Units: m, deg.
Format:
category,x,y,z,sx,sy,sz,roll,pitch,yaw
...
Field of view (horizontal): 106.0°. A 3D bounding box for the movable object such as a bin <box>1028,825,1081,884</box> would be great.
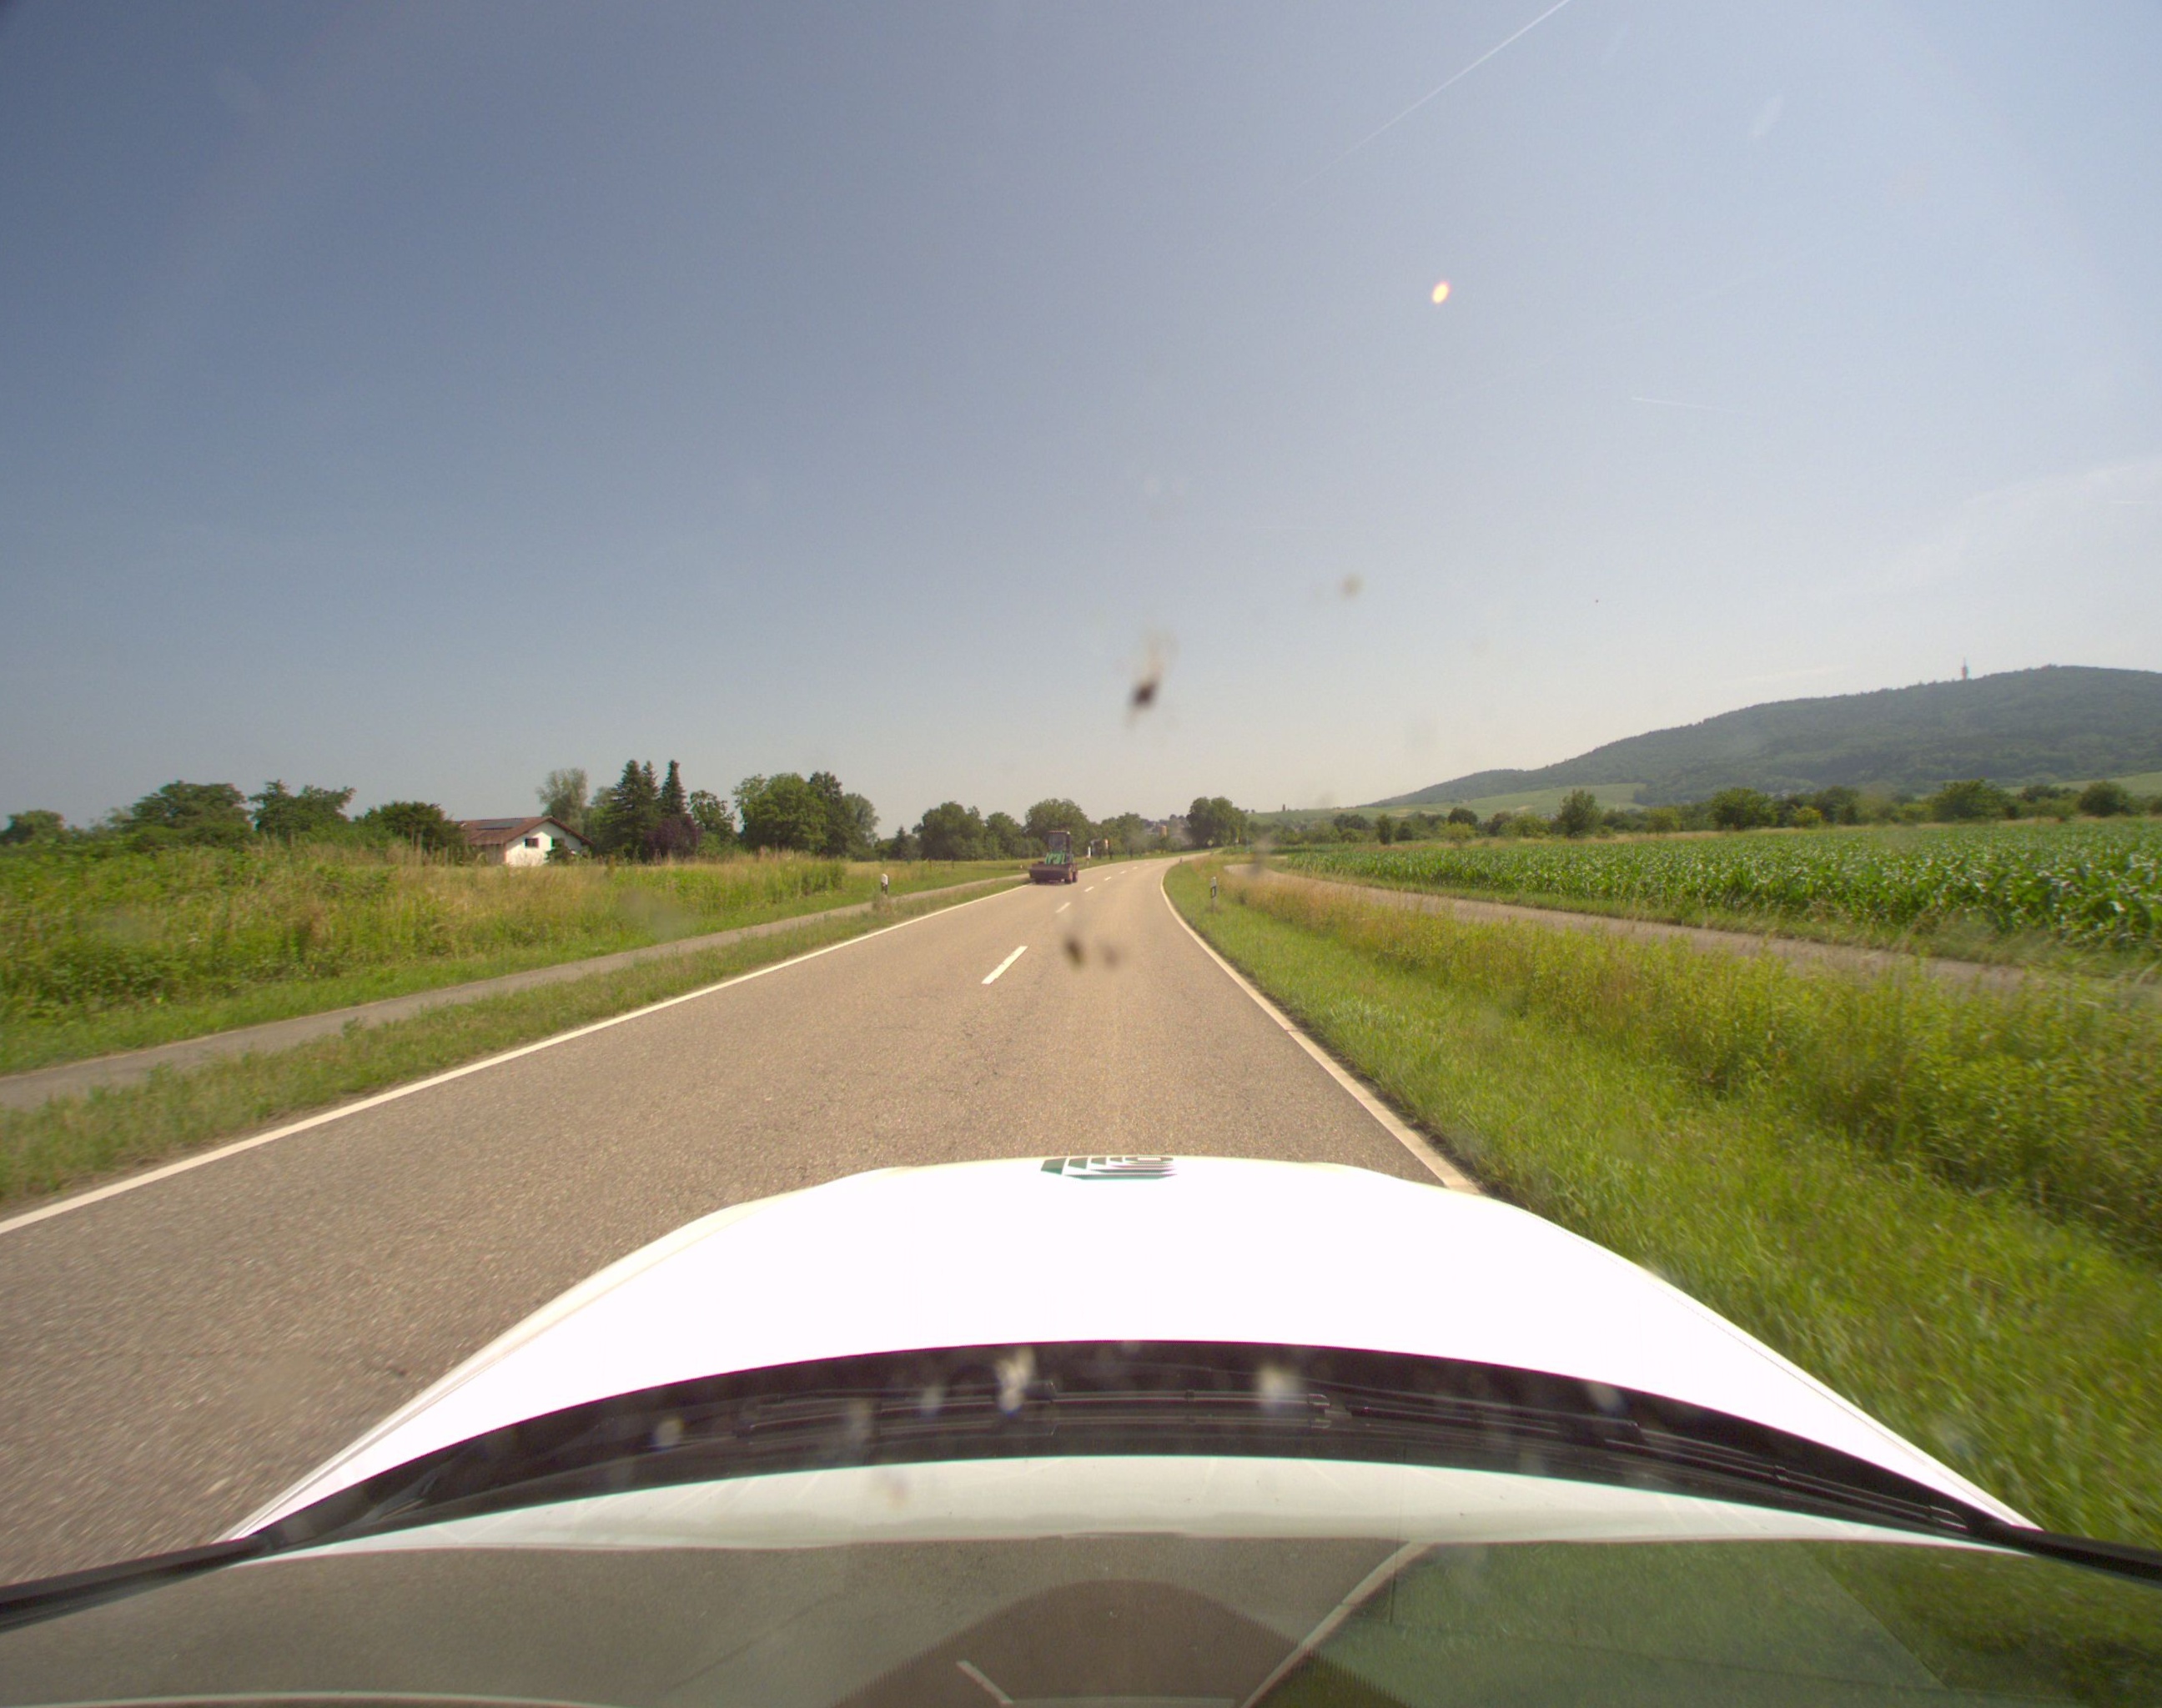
category,x,y,z,sx,sy,sz,roll,pitch,yaw
movable object such as a bin,-1.262,0.005,40.908,1.991,2.755,5.237,1,0,5
